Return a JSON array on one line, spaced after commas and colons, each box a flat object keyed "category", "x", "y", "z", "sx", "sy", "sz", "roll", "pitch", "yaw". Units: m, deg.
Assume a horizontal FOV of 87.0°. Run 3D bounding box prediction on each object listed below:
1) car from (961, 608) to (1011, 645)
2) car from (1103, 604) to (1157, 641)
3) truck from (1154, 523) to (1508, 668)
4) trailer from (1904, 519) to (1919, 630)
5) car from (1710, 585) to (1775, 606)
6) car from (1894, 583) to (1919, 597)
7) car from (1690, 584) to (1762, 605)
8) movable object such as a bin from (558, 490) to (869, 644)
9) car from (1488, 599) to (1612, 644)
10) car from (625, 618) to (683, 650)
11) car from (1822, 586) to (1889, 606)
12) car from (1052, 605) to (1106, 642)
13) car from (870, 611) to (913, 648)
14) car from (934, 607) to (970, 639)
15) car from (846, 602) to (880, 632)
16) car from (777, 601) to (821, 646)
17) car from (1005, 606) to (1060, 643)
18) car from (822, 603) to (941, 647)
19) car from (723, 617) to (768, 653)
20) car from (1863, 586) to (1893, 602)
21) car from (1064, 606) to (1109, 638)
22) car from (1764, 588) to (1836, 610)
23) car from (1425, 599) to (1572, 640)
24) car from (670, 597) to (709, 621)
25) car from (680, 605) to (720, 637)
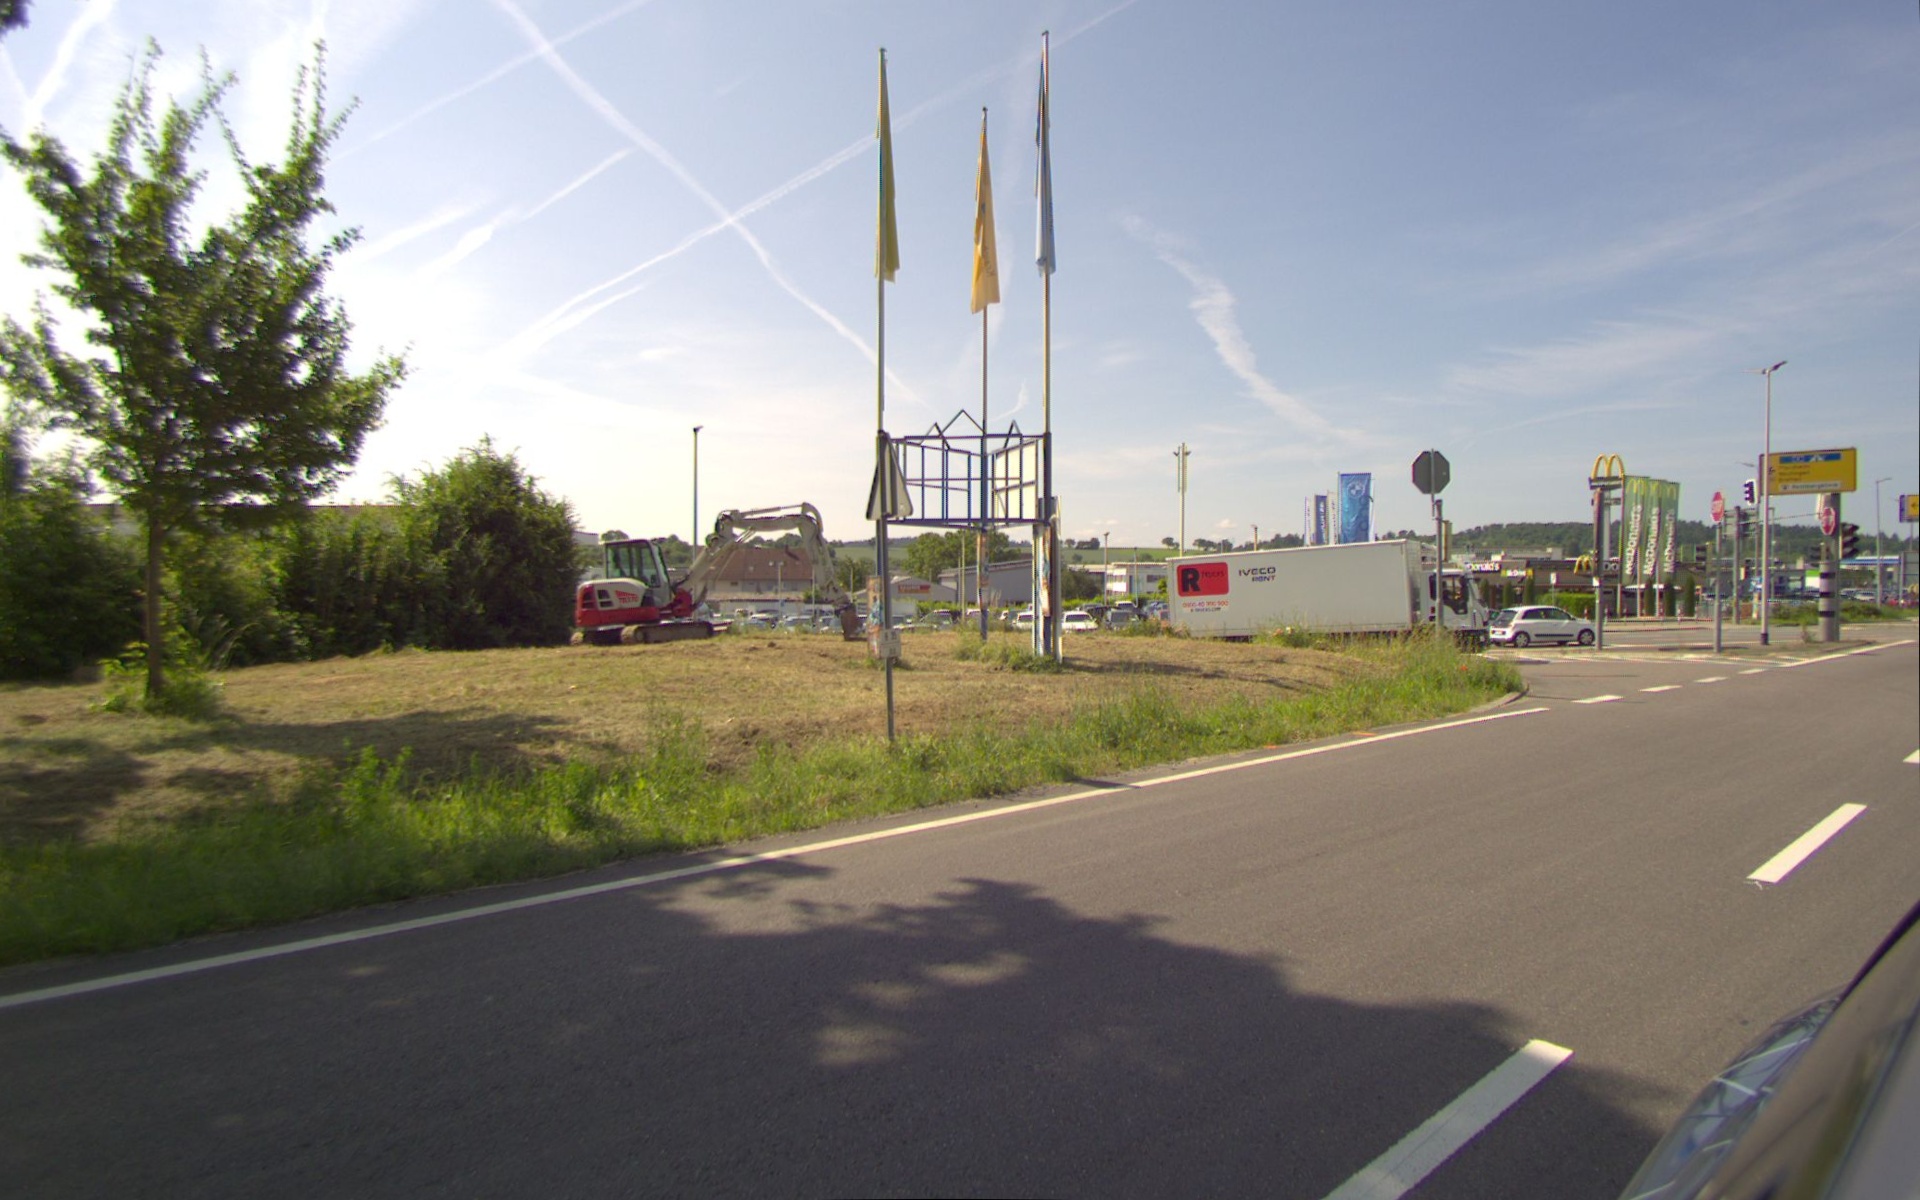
[{"category": "car", "x": 1.308, "y": 1.334, "z": 52.626, "sx": 2.049, "sy": 1.638, "sz": 4.041, "roll": 1, "pitch": 2, "yaw": -6}, {"category": "car", "x": 8.800, "y": 1.134, "z": 52.680, "sx": 1.961, "sy": 1.638, "sz": 4.003, "roll": 1, "pitch": 2, "yaw": -2}, {"category": "truck", "x": 11.064, "y": 0.031, "z": 30.964, "sx": 9.631, "sy": 3.674, "sz": 2.734, "roll": -4, "pitch": -2, "yaw": 34}, {"category": "trailer", "x": 37.799, "y": -0.963, "z": 37.933, "sx": 2.603, "sy": 4.279, "sz": 11.133, "roll": 2, "pitch": 2, "yaw": 39}, {"category": "car", "x": 65.111, "y": -0.394, "z": 84.231, "sx": 4.088, "sy": 1.691, "sz": 1.778, "roll": 1, "pitch": 2, "yaw": -3}, {"category": "car", "x": 113.053, "y": -1.194, "z": 120.412, "sx": 4.450, "sy": 1.675, "sz": 1.777, "roll": 0, "pitch": 2, "yaw": -33}, {"category": "car", "x": 65.306, "y": -0.465, "z": 86.354, "sx": 4.724, "sy": 1.691, "sz": 1.914, "roll": 1, "pitch": 2, "yaw": -2}, {"category": "movable object such as a bin", "x": -5.454, "y": -0.757, "z": 23.420, "sx": 6.573, "sy": 3.247, "sz": 2.904, "roll": 1, "pitch": 2, "yaw": -3}, {"category": "car", "x": 22.508, "y": 0.809, "z": 38.692, "sx": 3.684, "sy": 1.523, "sz": 1.711, "roll": -2, "pitch": 0, "yaw": 0}, {"category": "car", "x": -15.775, "y": 1.724, "z": 52.328, "sx": 1.961, "sy": 1.389, "sz": 4.003, "roll": 1, "pitch": 2, "yaw": -3}, {"category": "car", "x": 78.363, "y": -0.366, "z": 88.606, "sx": 3.977, "sy": 1.691, "sz": 1.764, "roll": 2, "pitch": 2, "yaw": 22}, {"category": "car", "x": 6.187, "y": 1.179, "z": 52.996, "sx": 1.960, "sy": 1.638, "sz": 4.485, "roll": 1, "pitch": 2, "yaw": -4}, {"category": "car", "x": -3.585, "y": 1.489, "z": 52.501, "sx": 2.049, "sy": 1.638, "sz": 4.006, "roll": 1, "pitch": 2, "yaw": -6}, {"category": "car", "x": -0.511, "y": 1.336, "z": 60.569, "sx": 1.969, "sy": 1.638, "sz": 4.085, "roll": 1, "pitch": 2, "yaw": -3}, {"category": "car", "x": -5.897, "y": 0.997, "z": 61.364, "sx": 1.968, "sy": 1.638, "sz": 4.088, "roll": 1, "pitch": 2, "yaw": -6}, {"category": "car", "x": -8.316, "y": 1.196, "z": 52.490, "sx": 2.027, "sy": 2.060, "sz": 4.088, "roll": 1, "pitch": 2, "yaw": -6}, {"category": "car", "x": 3.730, "y": 1.240, "z": 52.855, "sx": 2.049, "sy": 1.638, "sz": 4.481, "roll": 1, "pitch": 2, "yaw": -6}, {"category": "car", "x": -2.921, "y": 0.927, "z": 38.167, "sx": 4.242, "sy": 1.478, "sz": 1.999, "roll": -1, "pitch": 2, "yaw": 3}, {"category": "car", "x": -11.072, "y": 1.777, "z": 52.403, "sx": 1.959, "sy": 1.571, "sz": 4.007, "roll": 1, "pitch": 2, "yaw": -7}, {"category": "car", "x": 99.095, "y": -0.677, "z": 109.230, "sx": 4.630, "sy": 1.675, "sz": 1.905, "roll": -1, "pitch": 2, "yaw": -42}, {"category": "car", "x": 7.616, "y": 1.301, "z": 61.076, "sx": 1.969, "sy": 1.638, "sz": 4.085, "roll": 1, "pitch": 2, "yaw": -3}, {"category": "car", "x": 65.995, "y": -0.097, "z": 79.544, "sx": 4.150, "sy": 1.595, "sz": 1.862, "roll": 1, "pitch": 2, "yaw": -3}, {"category": "car", "x": 22.228, "y": 0.791, "z": 41.901, "sx": 4.906, "sy": 1.524, "sz": 1.999, "roll": -2, "pitch": 0, "yaw": 1}, {"category": "car", "x": -21.249, "y": 0.701, "z": 79.743, "sx": 1.971, "sy": 1.638, "sz": 4.191, "roll": 1, "pitch": 2, "yaw": 0}, {"category": "car", "x": -15.563, "y": 1.232, "z": 60.745, "sx": 1.967, "sy": 1.638, "sz": 4.089, "roll": 1, "pitch": 2, "yaw": -9}]
